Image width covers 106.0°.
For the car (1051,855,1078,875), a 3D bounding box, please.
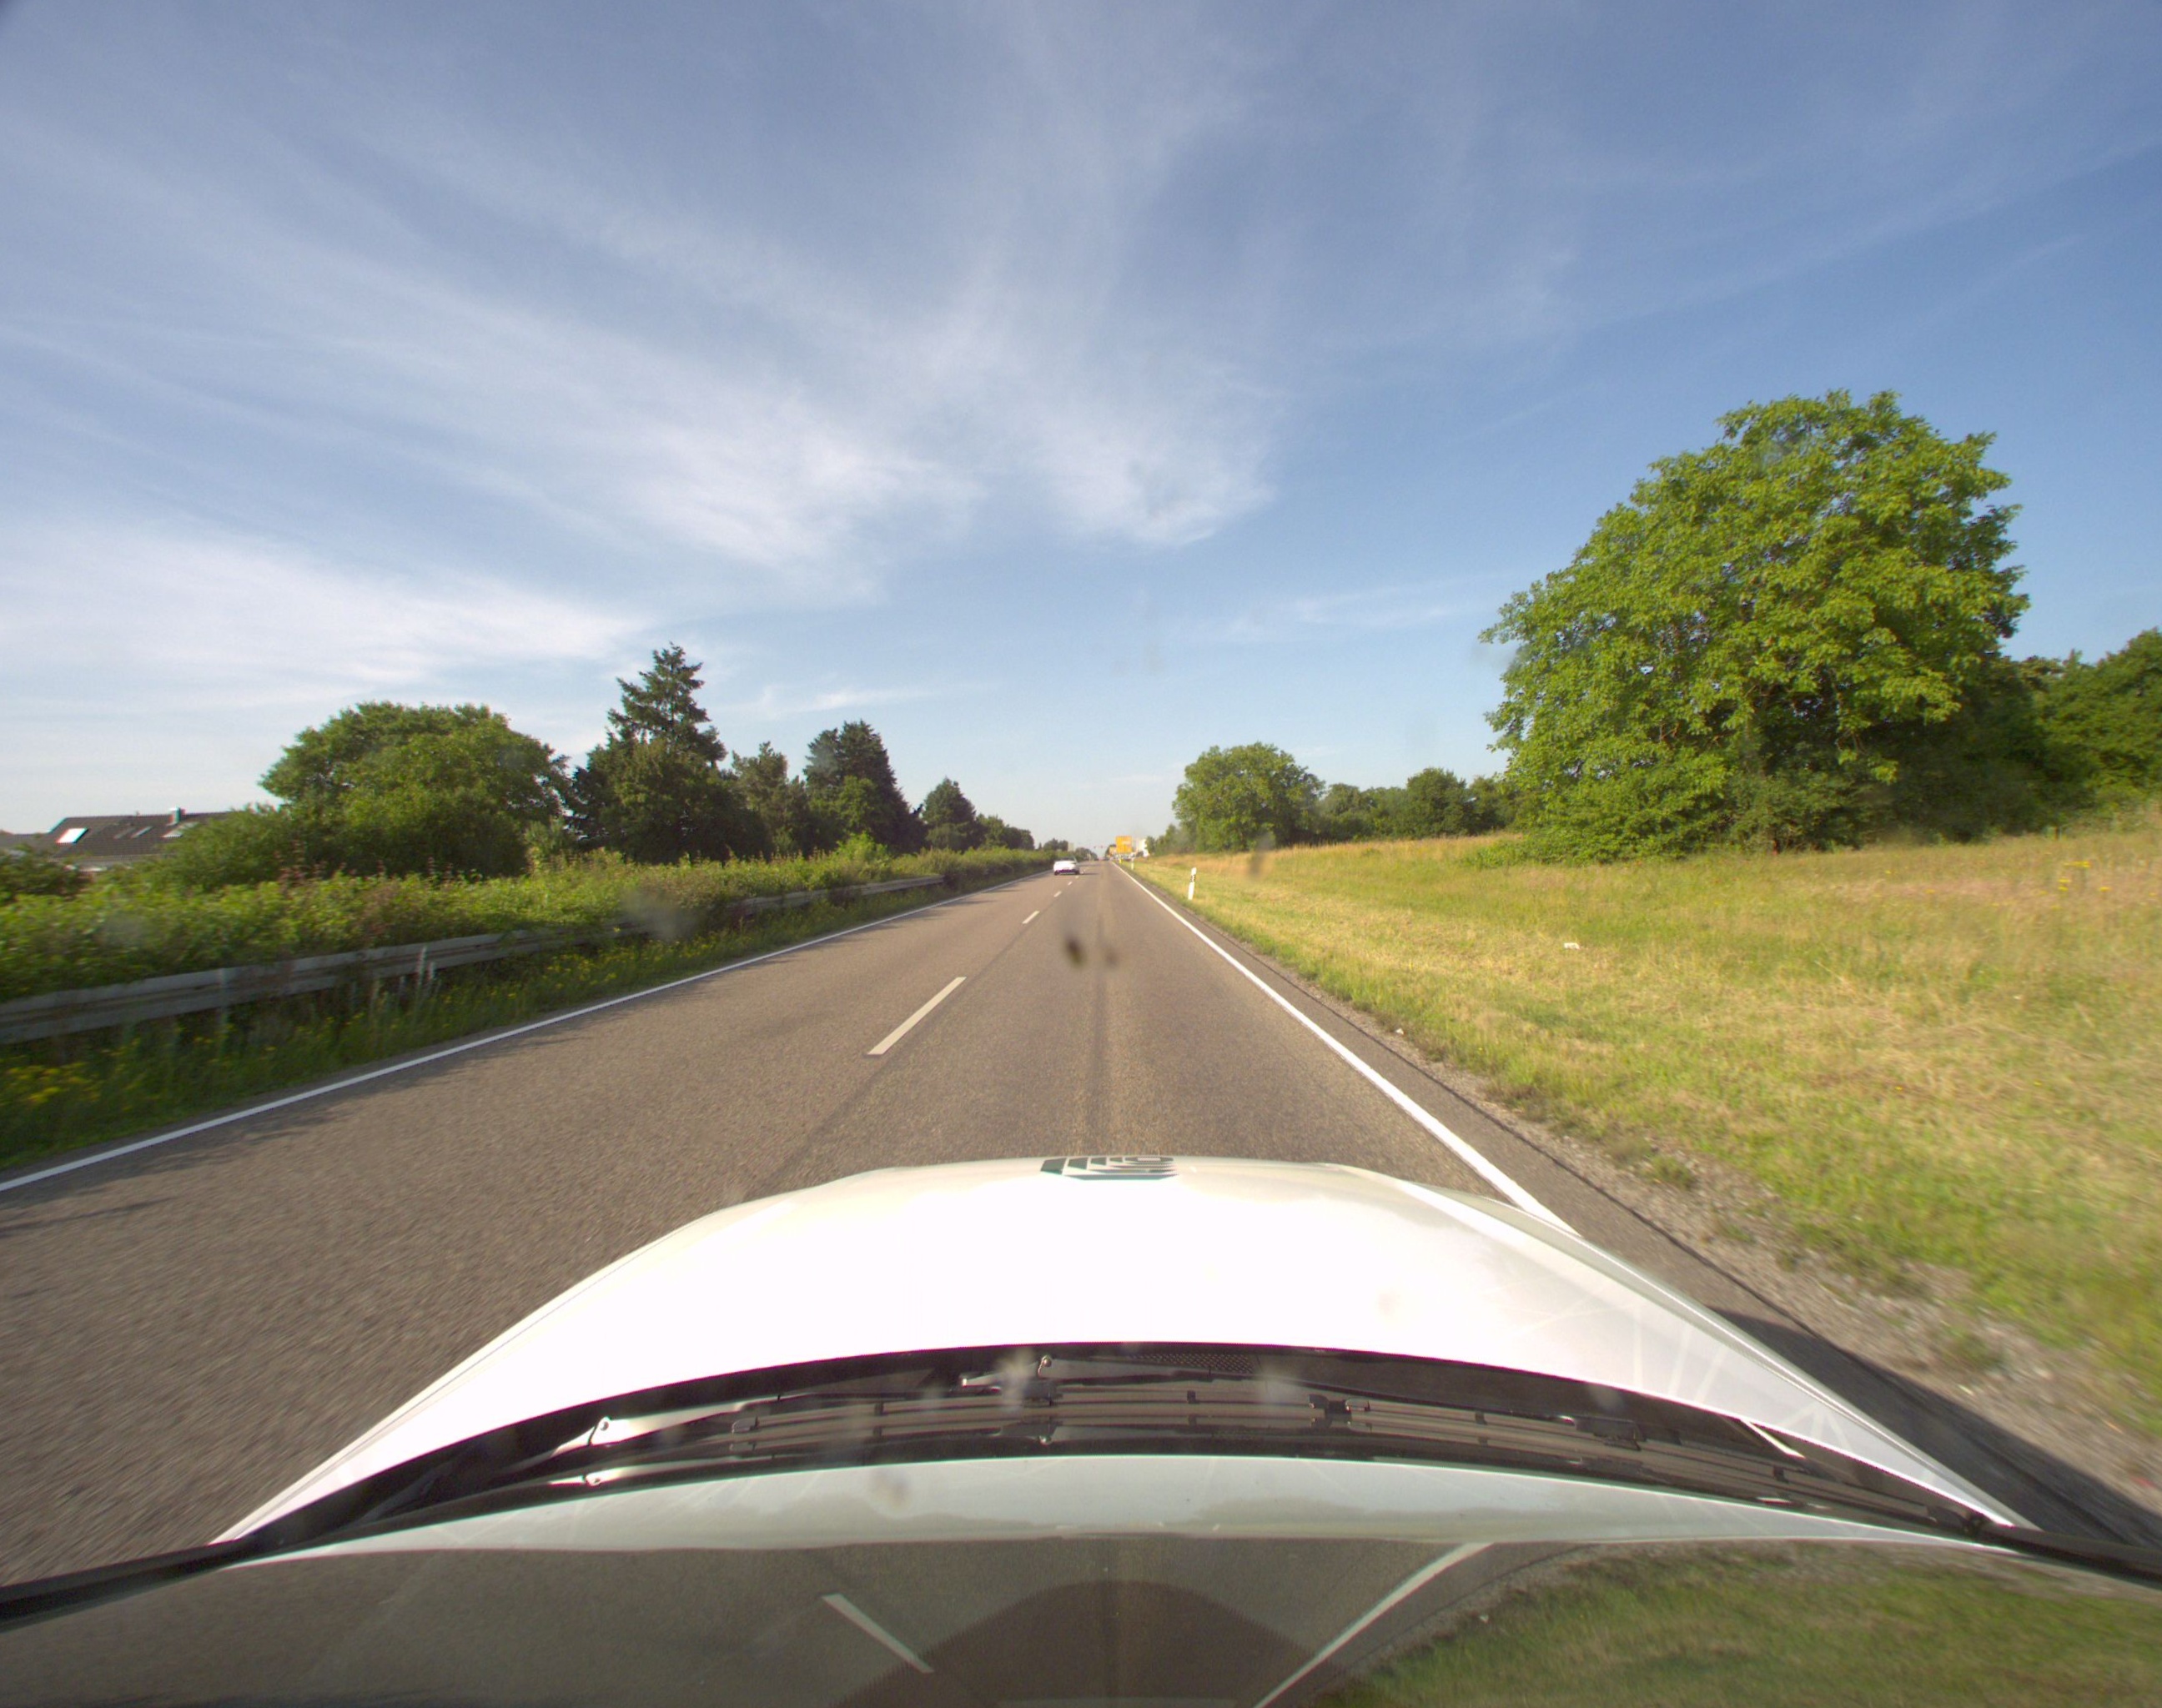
[{"bbox_3d":[-1.222,0.845,63.089,1.903,1.422,4.000,-1,0,1],"label":"car"}]
